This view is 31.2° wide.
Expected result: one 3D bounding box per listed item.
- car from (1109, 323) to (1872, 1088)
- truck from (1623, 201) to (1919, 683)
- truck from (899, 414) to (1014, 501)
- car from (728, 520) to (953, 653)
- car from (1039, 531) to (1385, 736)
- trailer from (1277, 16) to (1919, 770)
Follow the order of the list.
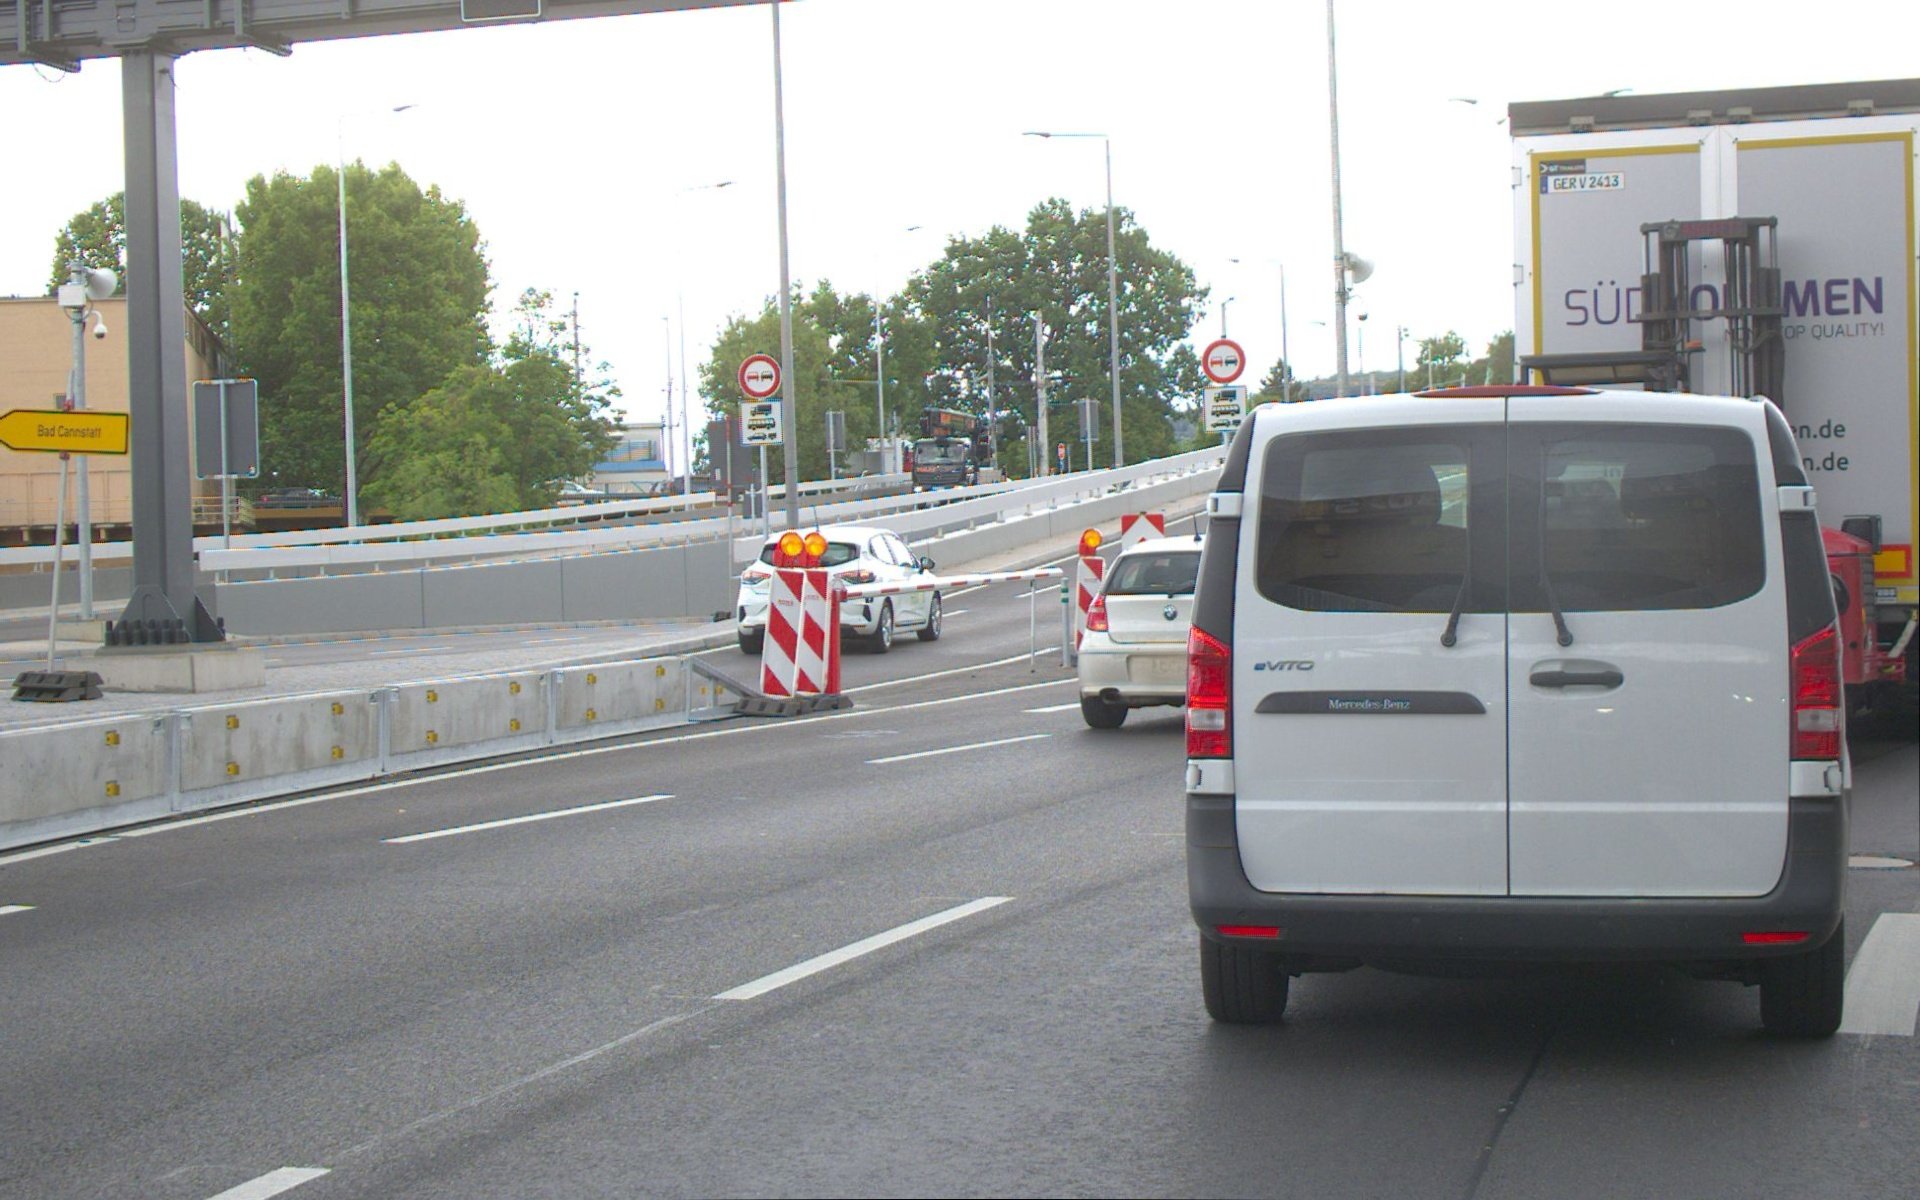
[{"bbox_3d":[1.878,0.238,11.651,1.994,1.983,5.197,0,1,11],"label":"car"},{"bbox_3d":[9.626,-1.435,34.787,3.728,4.127,10.971,0,1,22],"label":"truck"},{"bbox_3d":[-0.068,-5.936,141.487,2.734,3.378,10.616,1,4,11],"label":"truck"},{"bbox_3d":[-1.342,-0.166,40.274,1.744,1.427,3.774,2,1,12],"label":"car"},{"bbox_3d":[1.998,0.208,26.100,1.745,1.427,3.997,-1,1,17],"label":"car"},{"bbox_3d":[5.544,-1.221,24.602,3.728,4.127,10.972,0,1,21],"label":"trailer"}]
